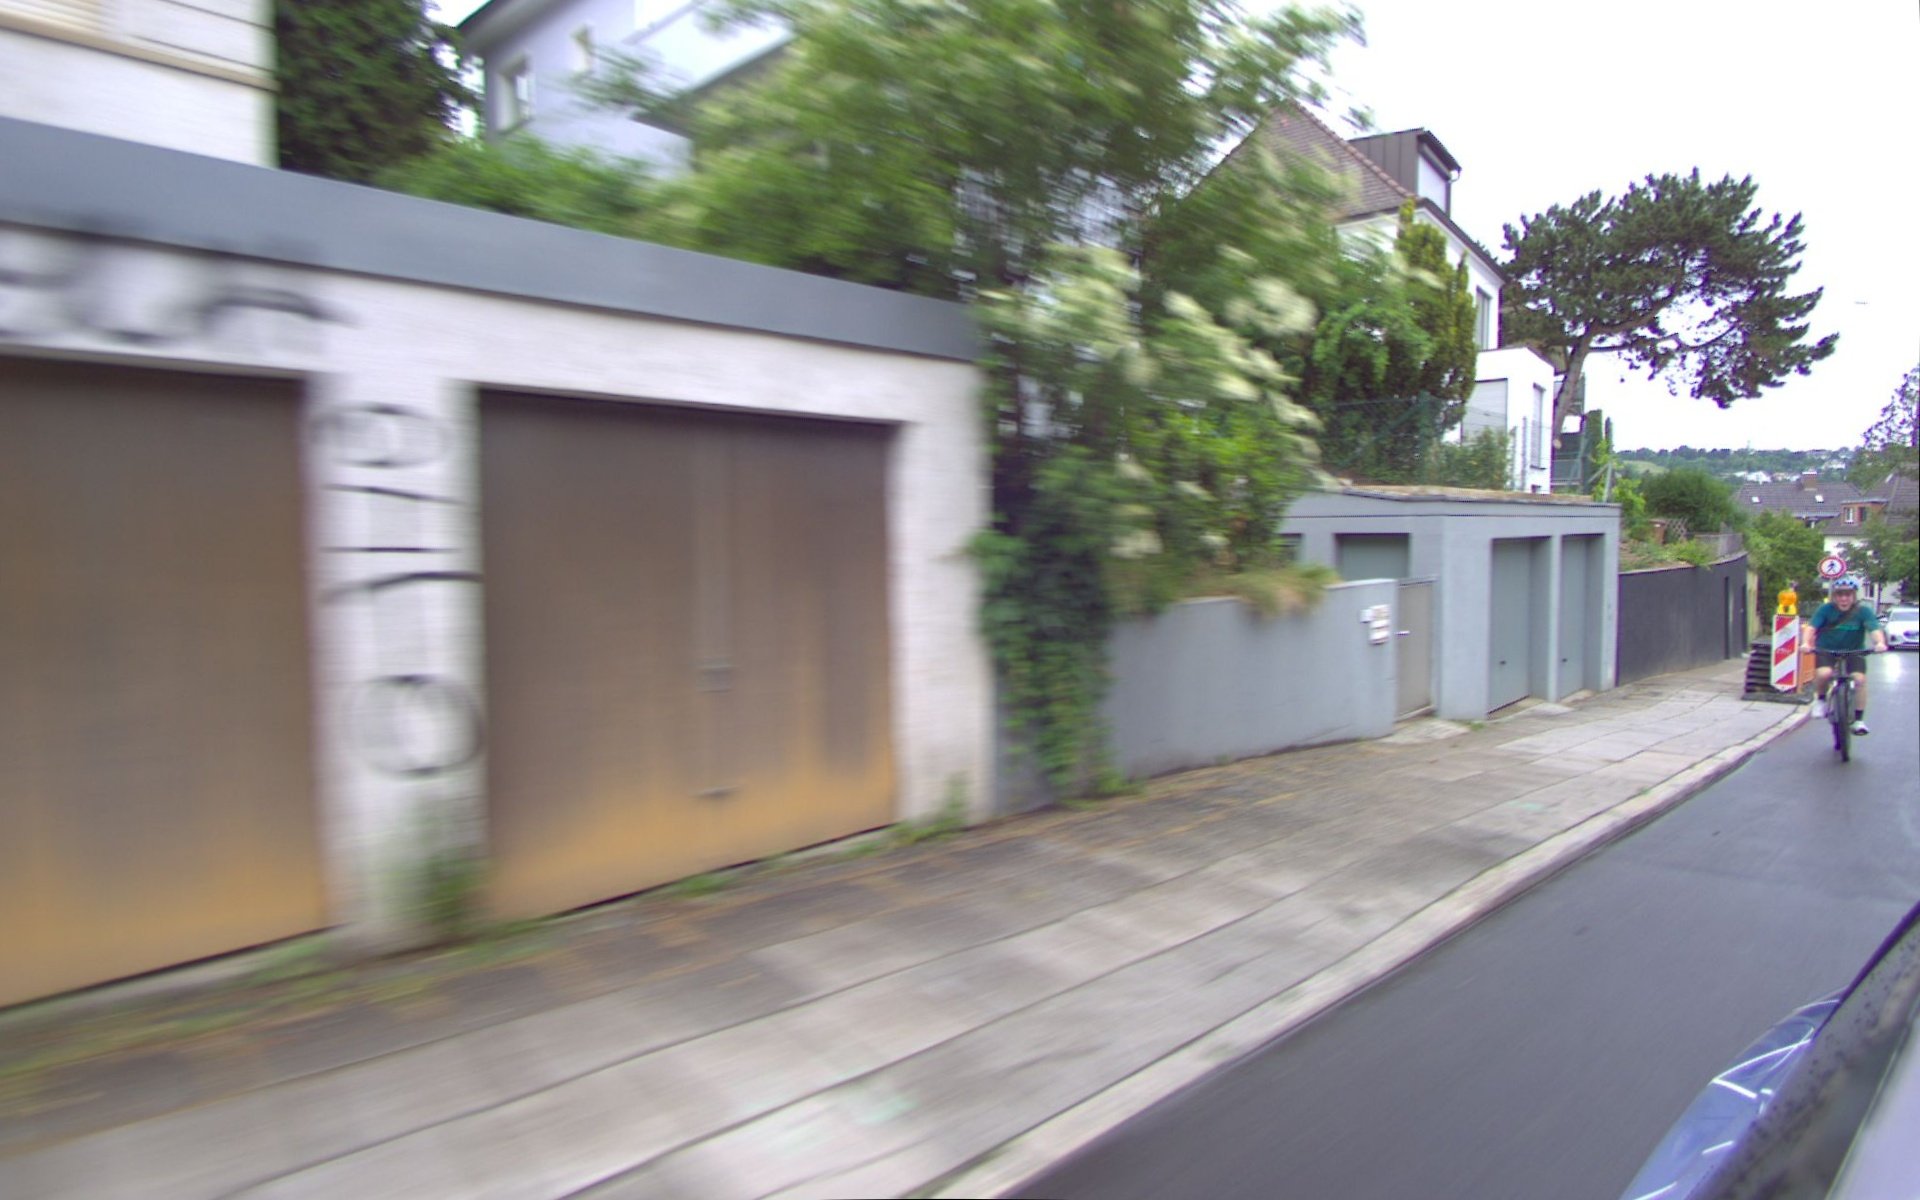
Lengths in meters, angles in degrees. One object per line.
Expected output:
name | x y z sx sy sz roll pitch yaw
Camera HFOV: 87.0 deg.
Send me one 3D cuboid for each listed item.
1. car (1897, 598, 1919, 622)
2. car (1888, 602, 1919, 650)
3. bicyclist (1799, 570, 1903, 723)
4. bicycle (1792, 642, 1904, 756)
car | 59.016 0.622 61.307 1.651 1.484 3.877 0 1 14
car | 37.617 0.978 39.244 1.990 1.730 4.512 1 1 37
bicyclist | 9.142 0.444 10.381 0.871 1.491 0.725 1 0 -44
bicycle | 9.060 0.962 10.306 1.643 0.977 0.730 0 1 -45
